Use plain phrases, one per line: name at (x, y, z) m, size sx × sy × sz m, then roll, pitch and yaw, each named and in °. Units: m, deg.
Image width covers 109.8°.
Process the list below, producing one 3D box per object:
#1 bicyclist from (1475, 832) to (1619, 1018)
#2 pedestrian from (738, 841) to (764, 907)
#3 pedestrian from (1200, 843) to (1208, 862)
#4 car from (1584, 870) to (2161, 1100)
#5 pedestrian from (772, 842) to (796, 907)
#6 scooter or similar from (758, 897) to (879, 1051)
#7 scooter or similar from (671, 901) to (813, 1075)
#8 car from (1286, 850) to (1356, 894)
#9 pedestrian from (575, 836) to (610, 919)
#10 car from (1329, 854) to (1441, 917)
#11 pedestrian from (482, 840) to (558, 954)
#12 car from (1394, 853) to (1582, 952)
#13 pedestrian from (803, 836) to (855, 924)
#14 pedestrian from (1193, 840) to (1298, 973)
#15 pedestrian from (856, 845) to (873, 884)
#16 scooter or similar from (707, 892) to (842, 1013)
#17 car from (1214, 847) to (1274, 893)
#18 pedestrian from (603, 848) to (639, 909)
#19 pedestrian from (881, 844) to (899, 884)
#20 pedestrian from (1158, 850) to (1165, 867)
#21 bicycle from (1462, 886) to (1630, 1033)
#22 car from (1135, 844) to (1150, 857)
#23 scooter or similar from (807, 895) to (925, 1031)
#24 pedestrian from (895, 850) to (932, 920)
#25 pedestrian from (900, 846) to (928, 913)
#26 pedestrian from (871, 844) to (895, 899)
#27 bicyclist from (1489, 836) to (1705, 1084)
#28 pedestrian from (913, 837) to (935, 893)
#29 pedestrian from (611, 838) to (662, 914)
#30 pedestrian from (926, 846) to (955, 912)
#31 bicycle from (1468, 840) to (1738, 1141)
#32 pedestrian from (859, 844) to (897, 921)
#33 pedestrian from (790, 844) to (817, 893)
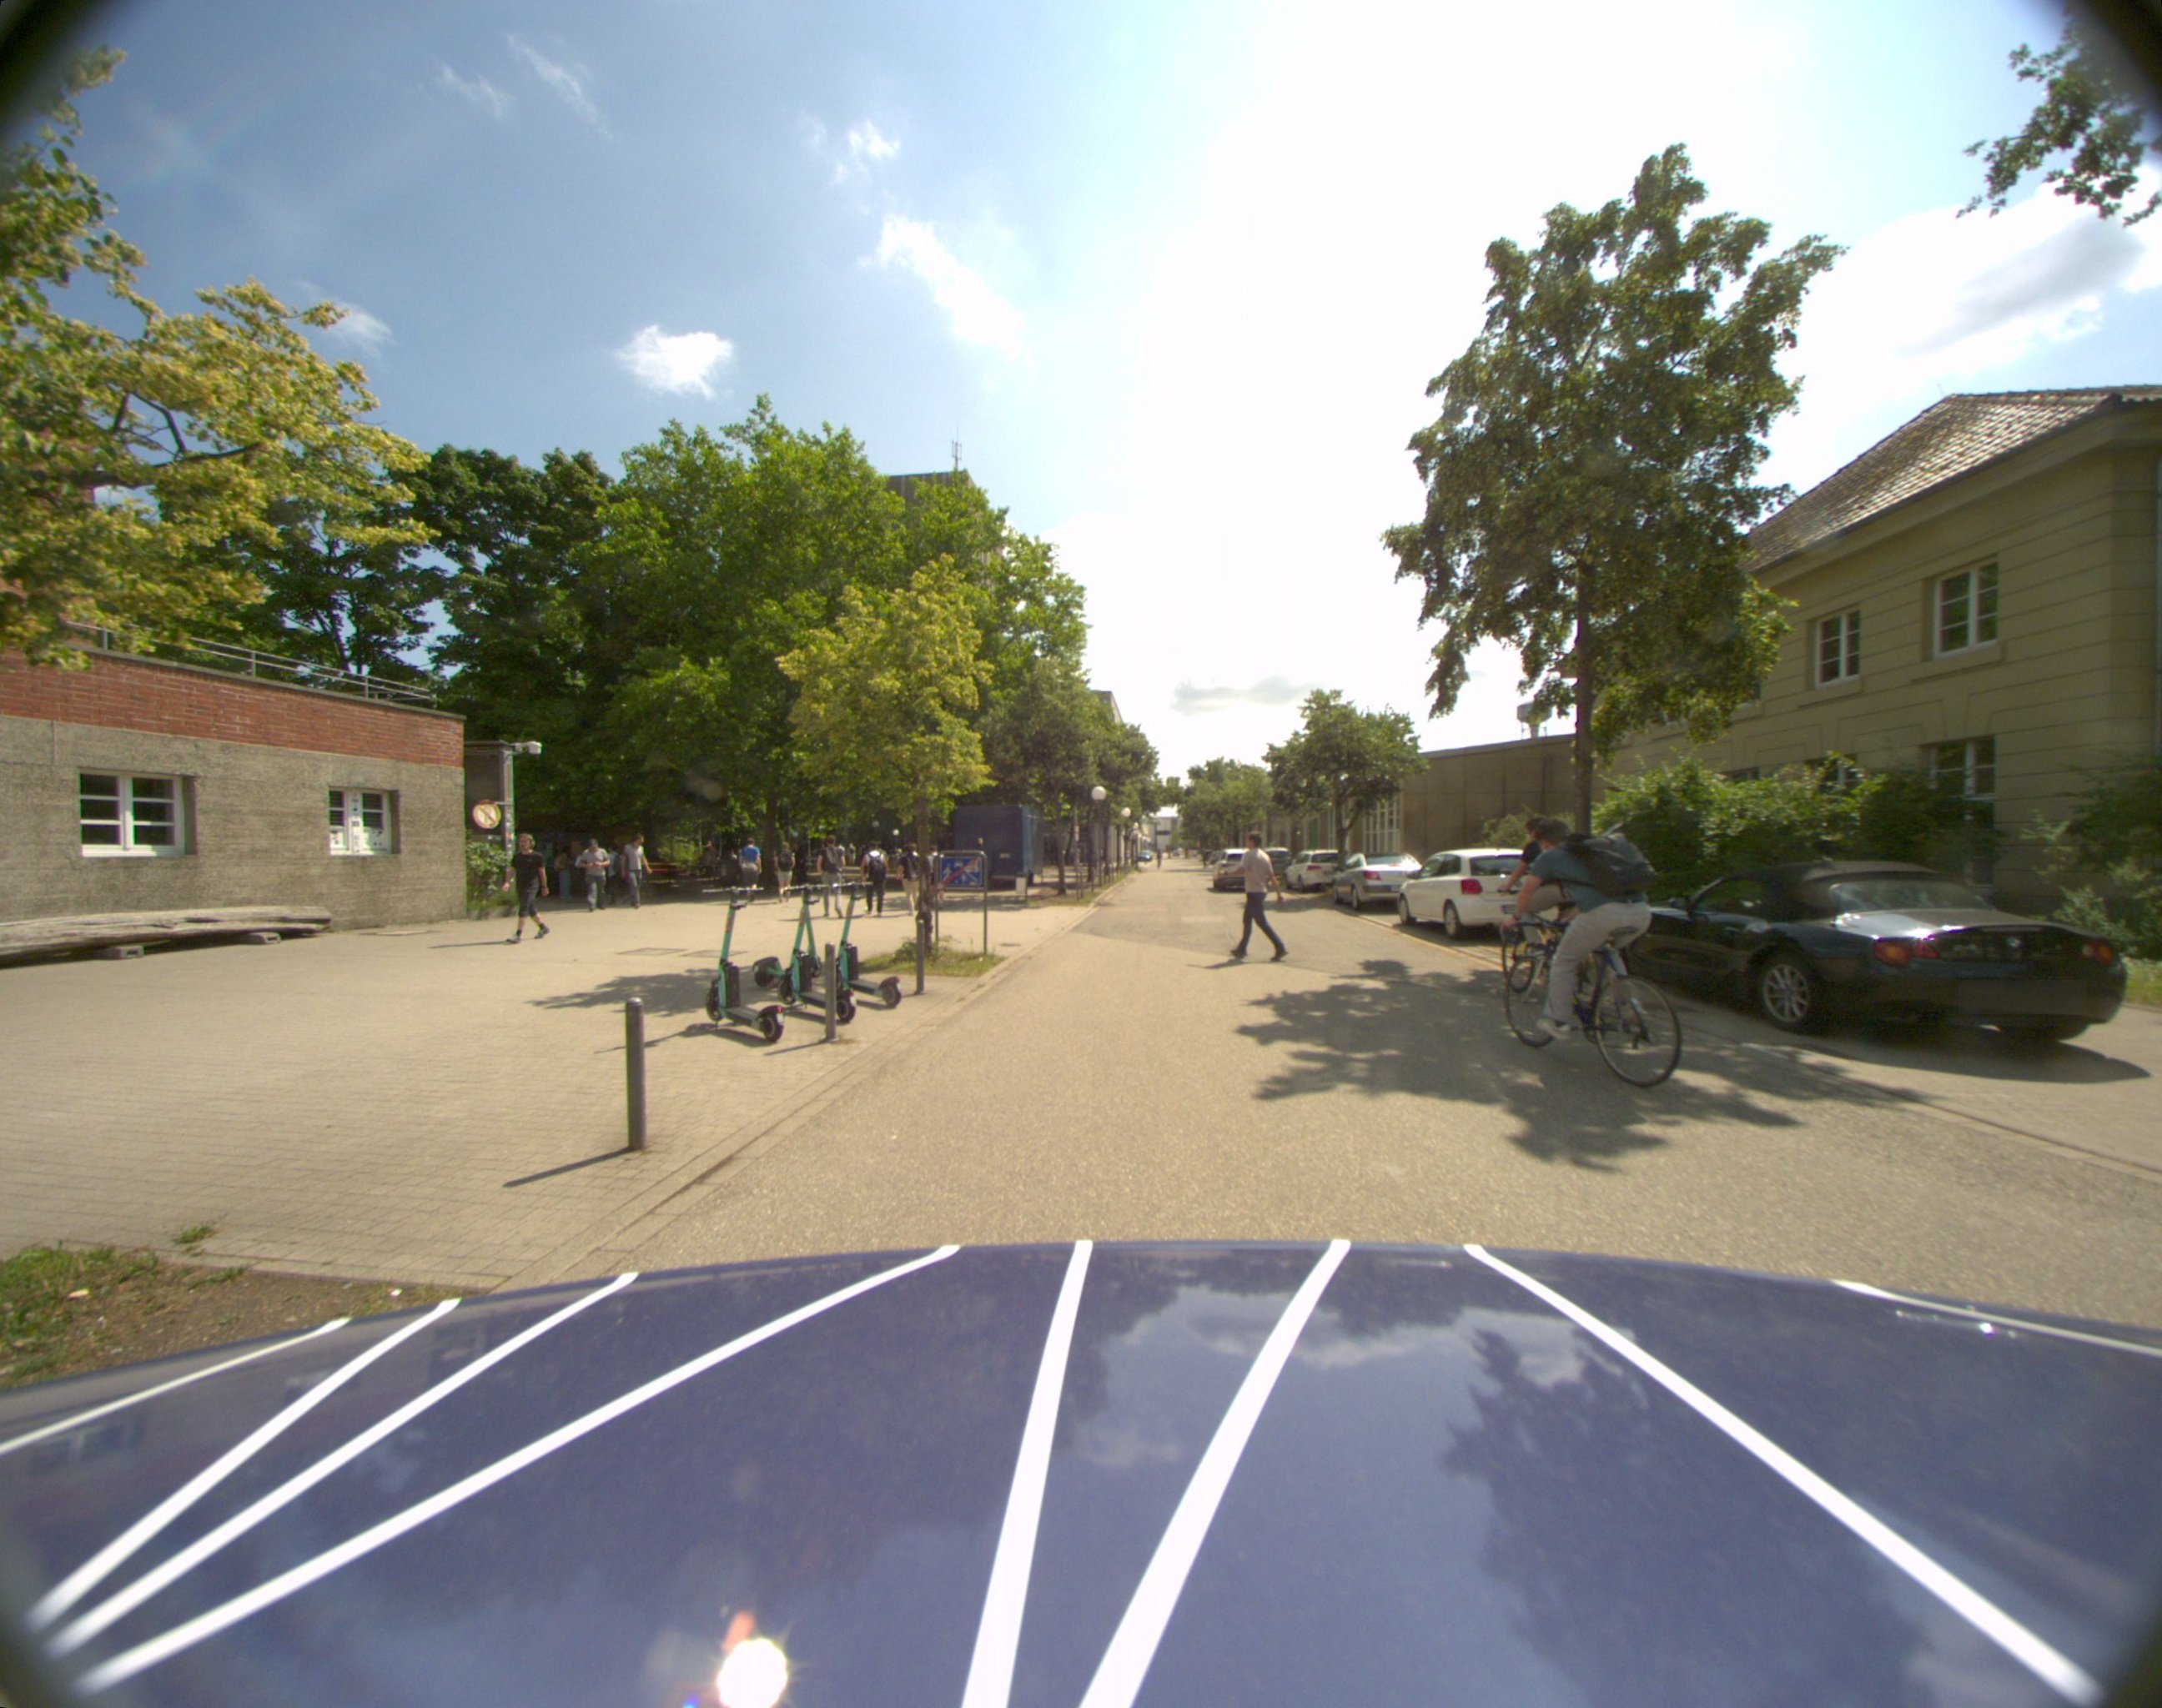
bicyclist at (4.359, 0.604, 7.212) m, size 0.629 × 1.597 × 1.329 m, roll 0°, pitch 1°, yaw 5°
pedestrian at (-9.076, 0.544, 20.922) m, size 0.566 × 1.784 × 0.643 m, roll 0°, pitch 1°, yaw -17°
pedestrian at (10.929, -0.141, 67.424) m, size 0.536 × 1.672 × 0.586 m, roll 0°, pitch 1°, yaw 21°
car at (6.270, 0.847, 6.588) m, size 1.700 × 1.287 × 3.764 m, roll 0°, pitch 1°, yaw 8°
pedestrian at (-8.269, 0.560, 21.148) m, size 0.541 × 1.784 × 0.643 m, roll 0°, pitch 1°, yaw -14°
scooter or similar at (-2.451, 1.056, 7.064) m, size 1.140 × 1.236 × 0.577 m, roll 0°, pitch 1°, yaw 41°
scooter or similar at (-2.865, 1.047, 6.374) m, size 1.352 × 1.223 × 0.577 m, roll 0°, pitch 1°, yaw 41°
car at (8.483, 0.590, 27.141) m, size 1.717 × 1.424 × 4.002 m, roll -1°, pitch 1°, yaw 8°
pedestrian at (-11.711, 0.561, 18.206) m, size 0.567 × 1.917 × 0.888 m, roll -2°, pitch -1°, yaw -38°
car at (7.430, 0.708, 18.930) m, size 1.647 × 1.369 × 4.002 m, roll -1°, pitch 1°, yaw 8°
pedestrian at (-9.064, 0.668, 12.299) m, size 0.586 × 1.768 × 0.799 m, roll 0°, pitch 2°, yaw 1°
car at (6.786, 0.730, 13.106) m, size 1.634 × 1.423 × 3.634 m, roll -1°, pitch 1°, yaw 7°
pedestrian at (-5.734, 0.567, 17.273) m, size 0.984 × 1.935 × 0.976 m, roll 0°, pitch 1°, yaw -27°
pedestrian at (2.350, 0.693, 10.864) m, size 0.985 × 1.776 × 1.092 m, roll -1°, pitch 1°, yaw -44°
pedestrian at (-8.734, 0.420, 30.683) m, size 0.640 × 1.548 × 0.574 m, roll 0°, pitch 1°, yaw -14°
scooter or similar at (-3.449, 1.064, 8.679) m, size 0.575 × 1.173 × 1.480 m, roll 0°, pitch 0°, yaw 20°
car at (6.246, 0.562, 29.536) m, size 1.931 × 1.624 × 4.374 m, roll -1°, pitch 1°, yaw 8°
pedestrian at (-12.660, 0.672, 20.899) m, size 0.777 × 1.645 × 0.567 m, roll -3°, pitch -1°, yaw 38°
pedestrian at (-7.802, 0.404, 30.995) m, size 0.639 × 1.629 × 0.563 m, roll 0°, pitch 1°, yaw -8°
pedestrian at (6.794, 0.370, 63.996) m, size 0.585 × 1.434 × 0.639 m, roll 0°, pitch 1°, yaw 8°
bicycle at (4.361, 0.927, 7.291) m, size 0.626 × 1.135 × 1.813 m, roll 0°, pitch 1°, yaw 5°
car at (8.248, -0.446, 101.810) m, size 1.998 × 1.648 × 4.001 m, roll 0°, pitch 1°, yaw 5°
scooter or similar at (-2.237, 1.067, 7.853) m, size 1.261 × 1.226 × 0.577 m, roll 0°, pitch 1°, yaw 41°
pedestrian at (-4.070, 0.731, 18.445) m, size 0.752 × 1.663 × 0.844 m, roll 0°, pitch 1°, yaw -23°
pedestrian at (-4.459, 0.669, 20.238) m, size 0.603 × 1.742 × 0.763 m, roll 0°, pitch 1°, yaw -21°
pedestrian at (-6.209, 0.540, 23.805) m, size 0.640 × 1.697 × 0.713 m, roll 0°, pitch 1°, yaw -21°
bicyclist at (3.323, 0.611, 5.025) m, size 0.587 × 1.444 × 1.233 m, roll 0°, pitch 1°, yaw 0°
pedestrian at (-5.323, 0.378, 25.693) m, size 0.640 × 1.859 × 0.537 m, roll 0°, pitch 1°, yaw -21°
pedestrian at (-11.230, 0.556, 19.194) m, size 0.970 × 1.875 × 0.670 m, roll -3°, pitch -1°, yaw 31°
pedestrian at (-3.800, 0.653, 20.477) m, size 0.623 × 1.729 × 0.773 m, roll 0°, pitch 1°, yaw -23°
bicycle at (3.332, 0.749, 5.083) m, size 0.588 × 1.671 × 1.758 m, roll 0°, pitch 1°, yaw 0°
pedestrian at (-4.824, 0.661, 18.035) m, size 0.782 × 1.781 × 0.713 m, roll 0°, pitch 1°, yaw -23°
pedestrian at (-10.082, 0.523, 27.611) m, size 0.669 × 1.755 × 0.798 m, roll -1°, pitch 0°, yaw -3°
